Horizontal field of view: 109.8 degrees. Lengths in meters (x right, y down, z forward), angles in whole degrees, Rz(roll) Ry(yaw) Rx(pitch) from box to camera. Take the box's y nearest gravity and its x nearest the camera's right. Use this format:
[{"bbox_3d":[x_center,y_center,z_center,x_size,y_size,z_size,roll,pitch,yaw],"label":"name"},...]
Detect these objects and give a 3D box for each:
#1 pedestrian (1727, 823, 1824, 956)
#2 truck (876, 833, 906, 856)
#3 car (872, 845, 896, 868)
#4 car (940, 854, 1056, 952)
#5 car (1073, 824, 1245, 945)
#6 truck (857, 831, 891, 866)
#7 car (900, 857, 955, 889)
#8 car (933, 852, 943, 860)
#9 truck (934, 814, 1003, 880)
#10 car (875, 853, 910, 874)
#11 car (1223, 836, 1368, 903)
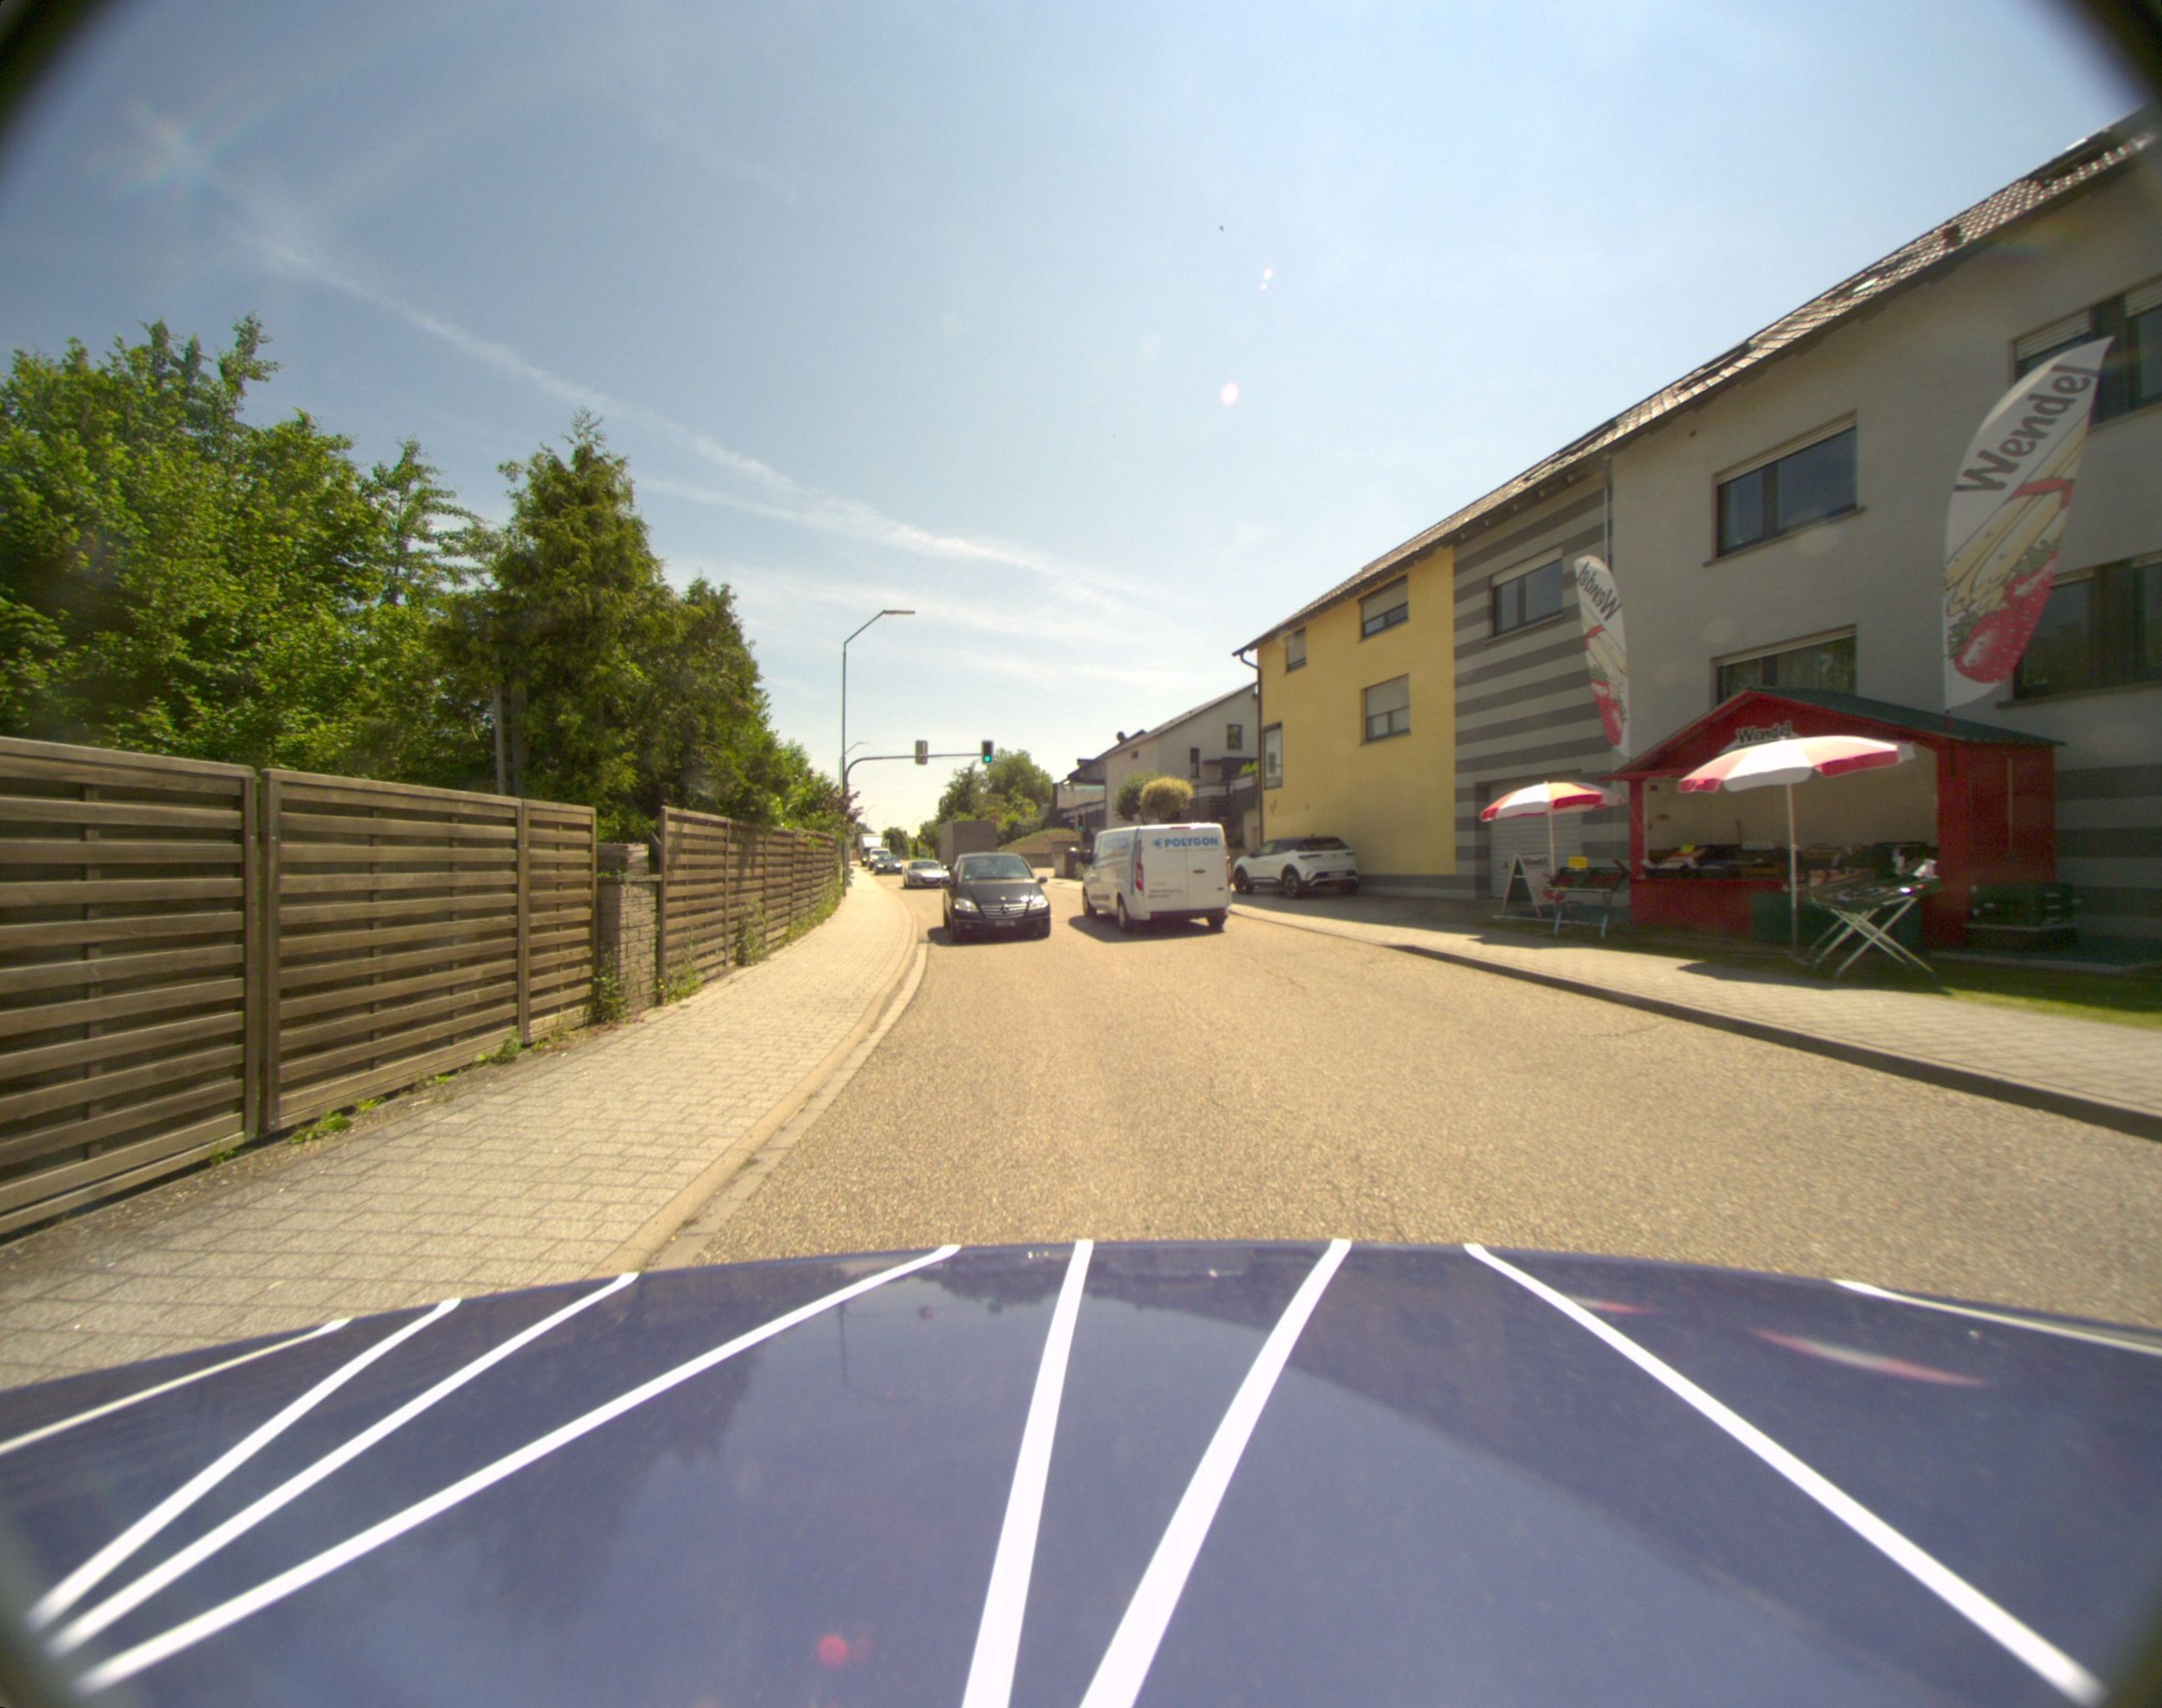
[{"bbox_3d":[8.632,0.422,9.472,0.612,1.578,0.809,-1,1,18],"label":"pedestrian"},{"bbox_3d":[-28.596,-1.428,113.943,2.859,3.213,8.146,3,0,-25],"label":"truck"},{"bbox_3d":[-17.450,0.170,67.207,1.870,1.897,5.030,-2,1,-15],"label":"car"},{"bbox_3d":[-1.794,0.827,15.077,1.766,1.583,4.193,-2,1,-13],"label":"car"},{"bbox_3d":[1.347,0.502,15.709,2.000,1.988,5.208,-3,1,-11],"label":"car"},{"bbox_3d":[-22.901,-0.573,83.993,3.208,3.578,8.294,3,0,-16],"label":"truck"},{"bbox_3d":[-6.959,0.821,34.186,1.816,1.306,3.993,-1,0,-20],"label":"car"},{"bbox_3d":[-29.010,0.393,154.077,1.828,1.516,3.554,-1,1,-9],"label":"car"},{"bbox_3d":[-6.692,-0.400,44.056,2.476,3.348,7.604,-4,1,-19],"label":"truck"},{"bbox_3d":[-13.333,0.637,53.523,1.900,1.368,3.993,-1,0,-20],"label":"car"},{"bbox_3d":[5.528,0.351,20.172,1.737,1.543,4.182,-1,1,-16],"label":"car"}]
